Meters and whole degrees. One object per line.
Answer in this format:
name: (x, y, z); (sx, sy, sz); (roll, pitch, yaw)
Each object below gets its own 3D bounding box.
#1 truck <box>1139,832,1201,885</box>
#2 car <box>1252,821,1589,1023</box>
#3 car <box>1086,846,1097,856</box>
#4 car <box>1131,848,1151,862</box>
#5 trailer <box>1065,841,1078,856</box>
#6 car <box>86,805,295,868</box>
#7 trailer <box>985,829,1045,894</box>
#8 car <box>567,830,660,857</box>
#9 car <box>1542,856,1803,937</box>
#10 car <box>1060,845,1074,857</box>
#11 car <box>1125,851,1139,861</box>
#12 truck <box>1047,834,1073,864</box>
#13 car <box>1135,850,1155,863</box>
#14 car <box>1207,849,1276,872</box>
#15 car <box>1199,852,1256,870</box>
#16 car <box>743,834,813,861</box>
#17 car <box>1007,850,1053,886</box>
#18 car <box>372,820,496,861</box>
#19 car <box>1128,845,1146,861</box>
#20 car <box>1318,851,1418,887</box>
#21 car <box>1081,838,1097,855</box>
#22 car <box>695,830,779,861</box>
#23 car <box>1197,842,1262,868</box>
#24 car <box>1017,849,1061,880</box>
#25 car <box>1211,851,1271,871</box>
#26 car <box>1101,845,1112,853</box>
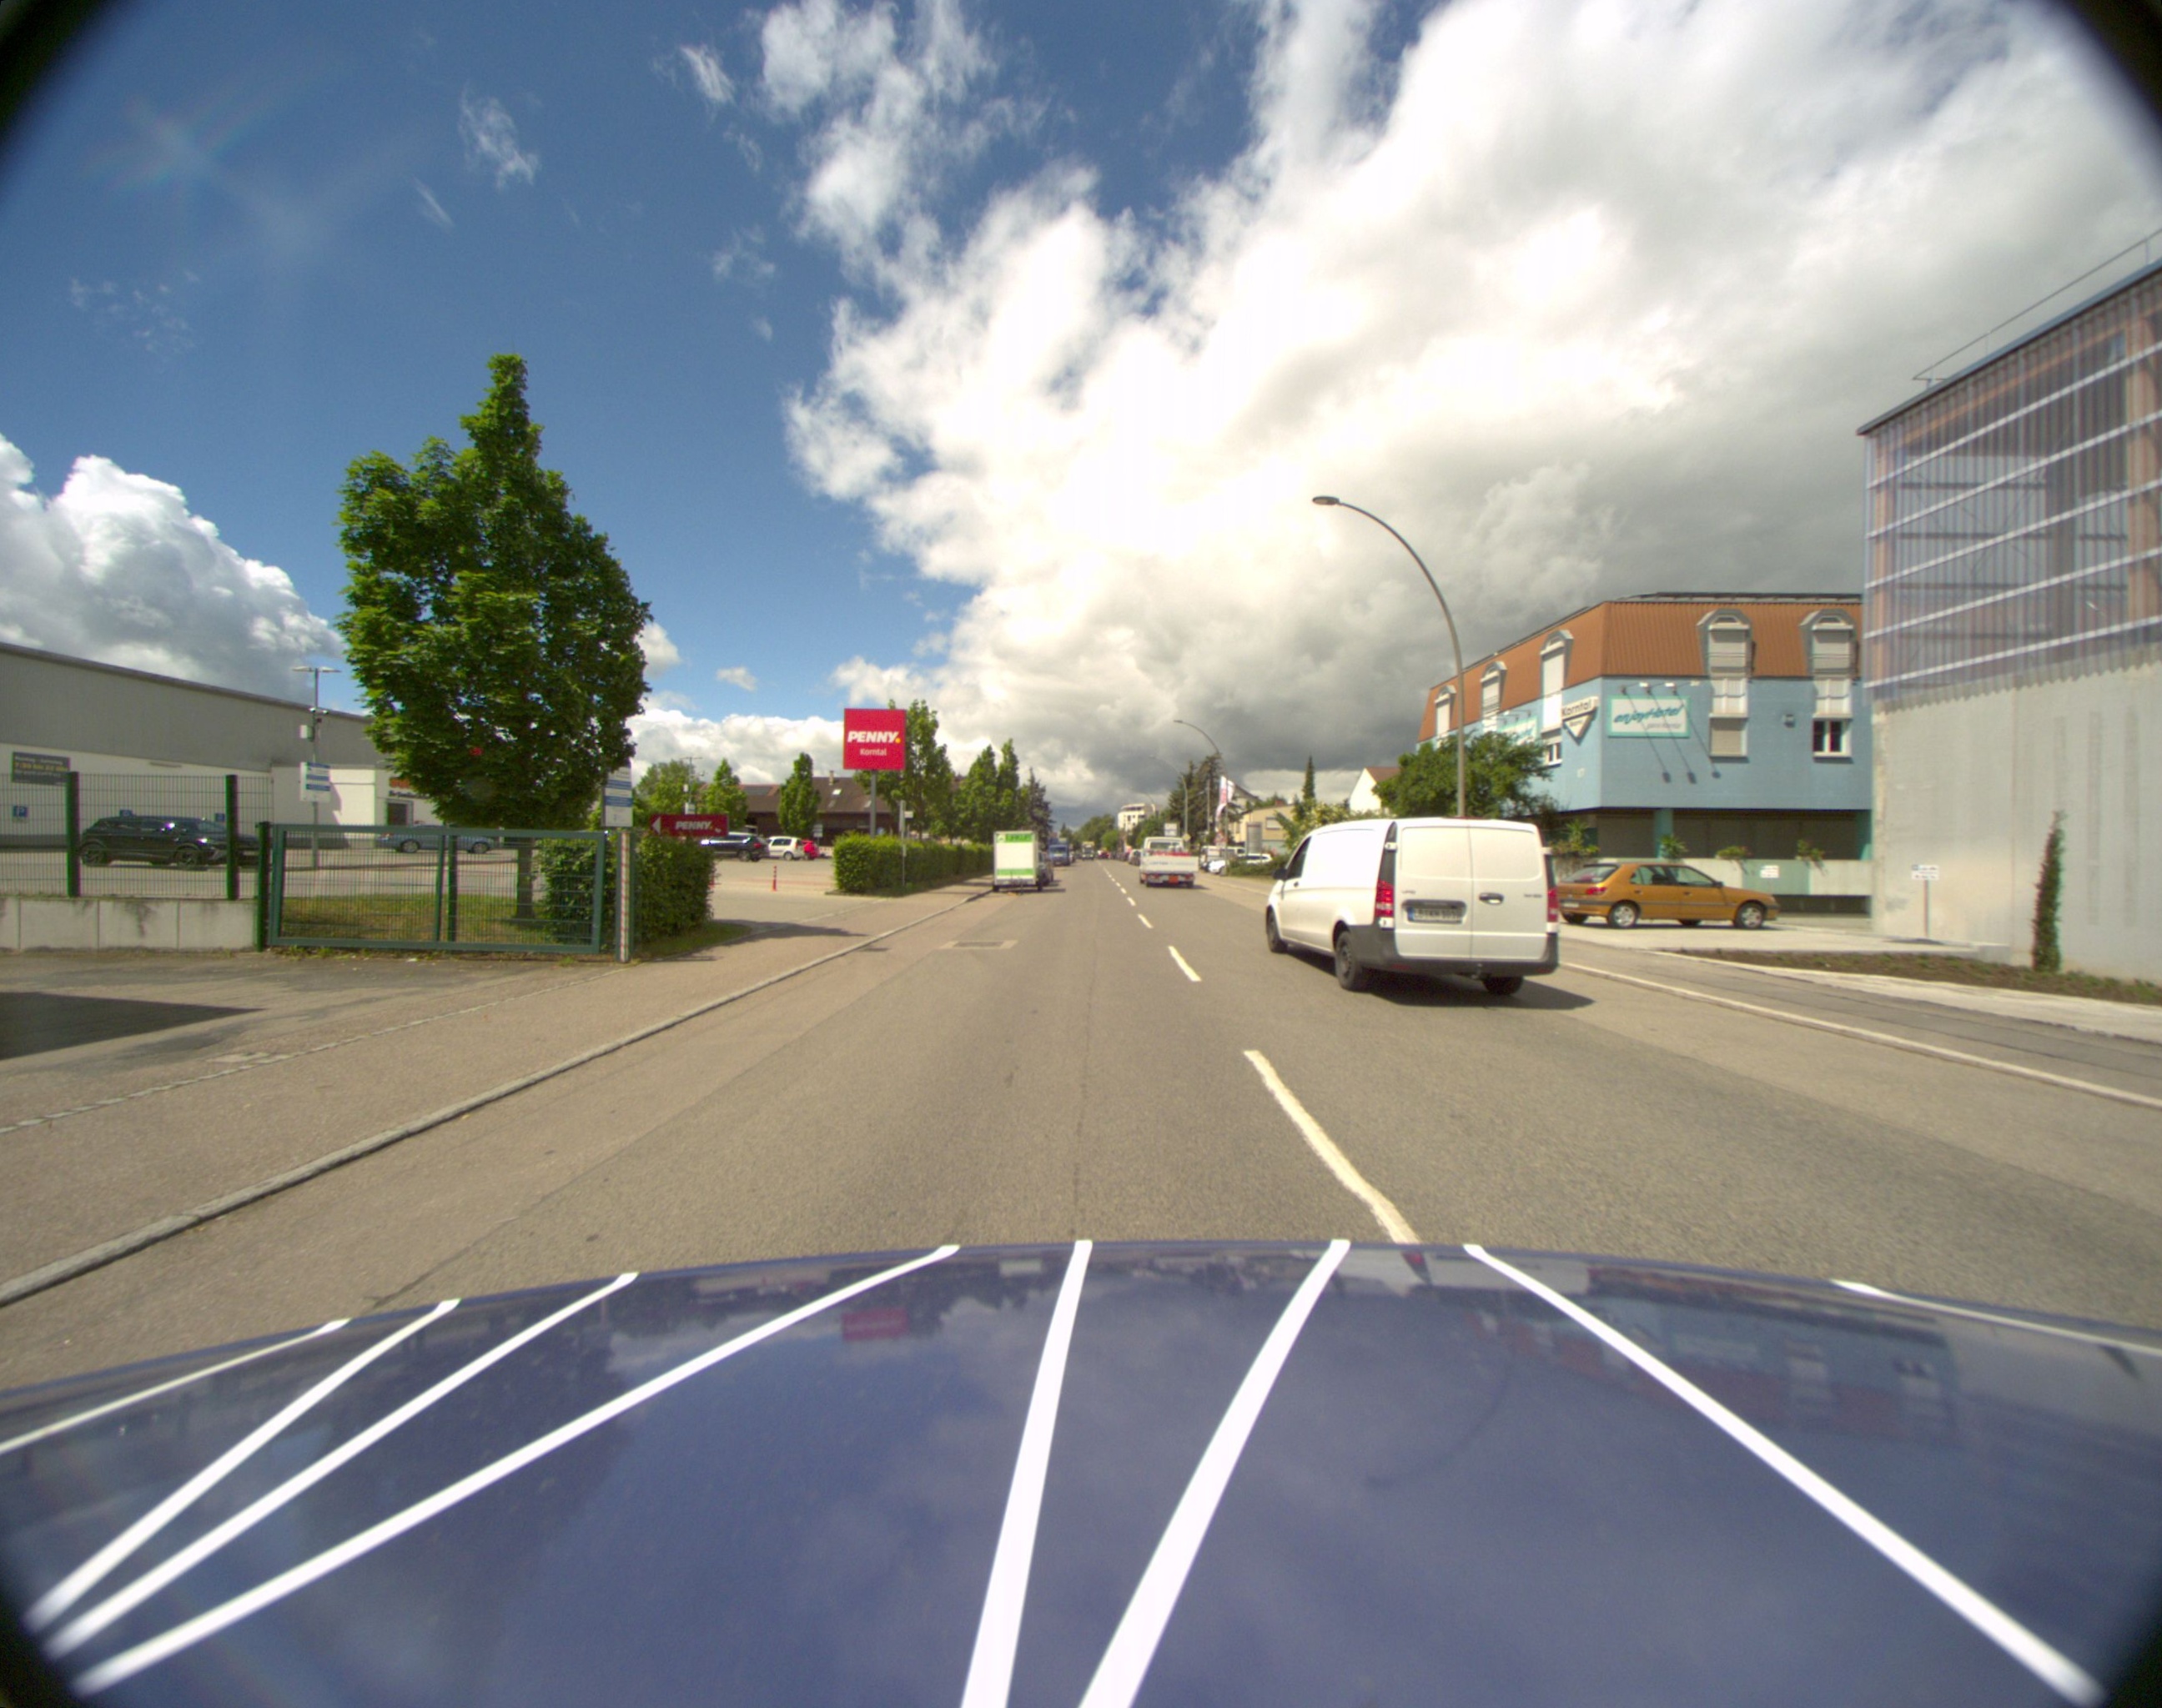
truck: (3.969, 0.196, 34.913); (2.324, 2.166, 6.450); (1, 0, 3)
car: (3.756, 0.636, 9.682); (1.998, 1.877, 5.116); (1, 0, 0)
car: (1.728, -0.486, 126.814); (1.891, 1.708, 3.999); (1, 1, 0)
car: (6.890, 0.158, 87.626); (1.748, 1.463, 4.643); (3, 0, -1)
trailer: (-1.324, -0.777, 110.637); (1.777, 2.132, 4.114); (1, 0, 0)
car: (-26.611, -0.508, 22.814); (3.996, 1.674, 2.000); (-2, 0, 3)
trailer: (-2.471, 0.253, 29.295); (1.946, 2.281, 4.444); (1, 1, -1)
car: (-26.462, -0.564, 43.126); (3.997, 1.346, 2.000); (-2, 0, 0)
car: (12.412, 0.847, 16.116); (4.161, 1.483, 1.825); (-2, 0, -3)
car: (-1.794, -0.424, 98.623); (1.777, 1.499, 4.000); (1, 0, 0)
car: (7.658, 0.317, 114.885); (1.724, 1.484, 4.735); (1, 0, -1)
truck: (-2.191, -0.524, 80.734); (2.326, 3.079, 6.042); (-2, 0, 1)
car: (6.867, 0.273, 82.293); (1.635, 1.296, 4.116); (3, 0, -2)
car: (11.008, 0.447, 52.434); (4.385, 1.470, 1.871); (0, 2, 1)
car: (11.079, 0.506, 57.649); (3.997, 1.307, 1.871); (0, 1, -1)
car: (-20.925, -0.456, 52.554); (3.997, 1.696, 2.000); (-2, 0, -1)
car: (-2.309, 0.616, 35.419); (1.947, 1.562, 4.444); (1, 0, -1)
car: (-32.244, -0.680, 37.981); (1.994, 1.892, 4.312); (-2, 0, 36)
car: (6.776, -0.164, 92.794); (1.748, 1.827, 4.355); (3, 0, -1)
car: (12.435, 0.638, 33.114); (3.636, 1.524, 1.980); (0, 0, 3)
car: (1.659, -1.656, 169.641); (3.263, 3.595, 10.269); (-1, -1, -1)
car: (-20.288, -0.493, 44.923); (3.997, 1.696, 2.000); (-2, 0, -1)
car: (11.656, 0.068, 60.037); (4.664, 1.960, 2.115); (0, 0, -3)
car: (-2.239, 0.550, 41.450); (1.946, 1.562, 4.446); (1, 0, 3)
car: (11.432, 0.486, 54.539); (3.996, 1.347, 1.872); (0, 0, 3)
car: (5.344, -1.120, 158.743); (1.998, 1.606, 4.411); (1, 0, 0)
